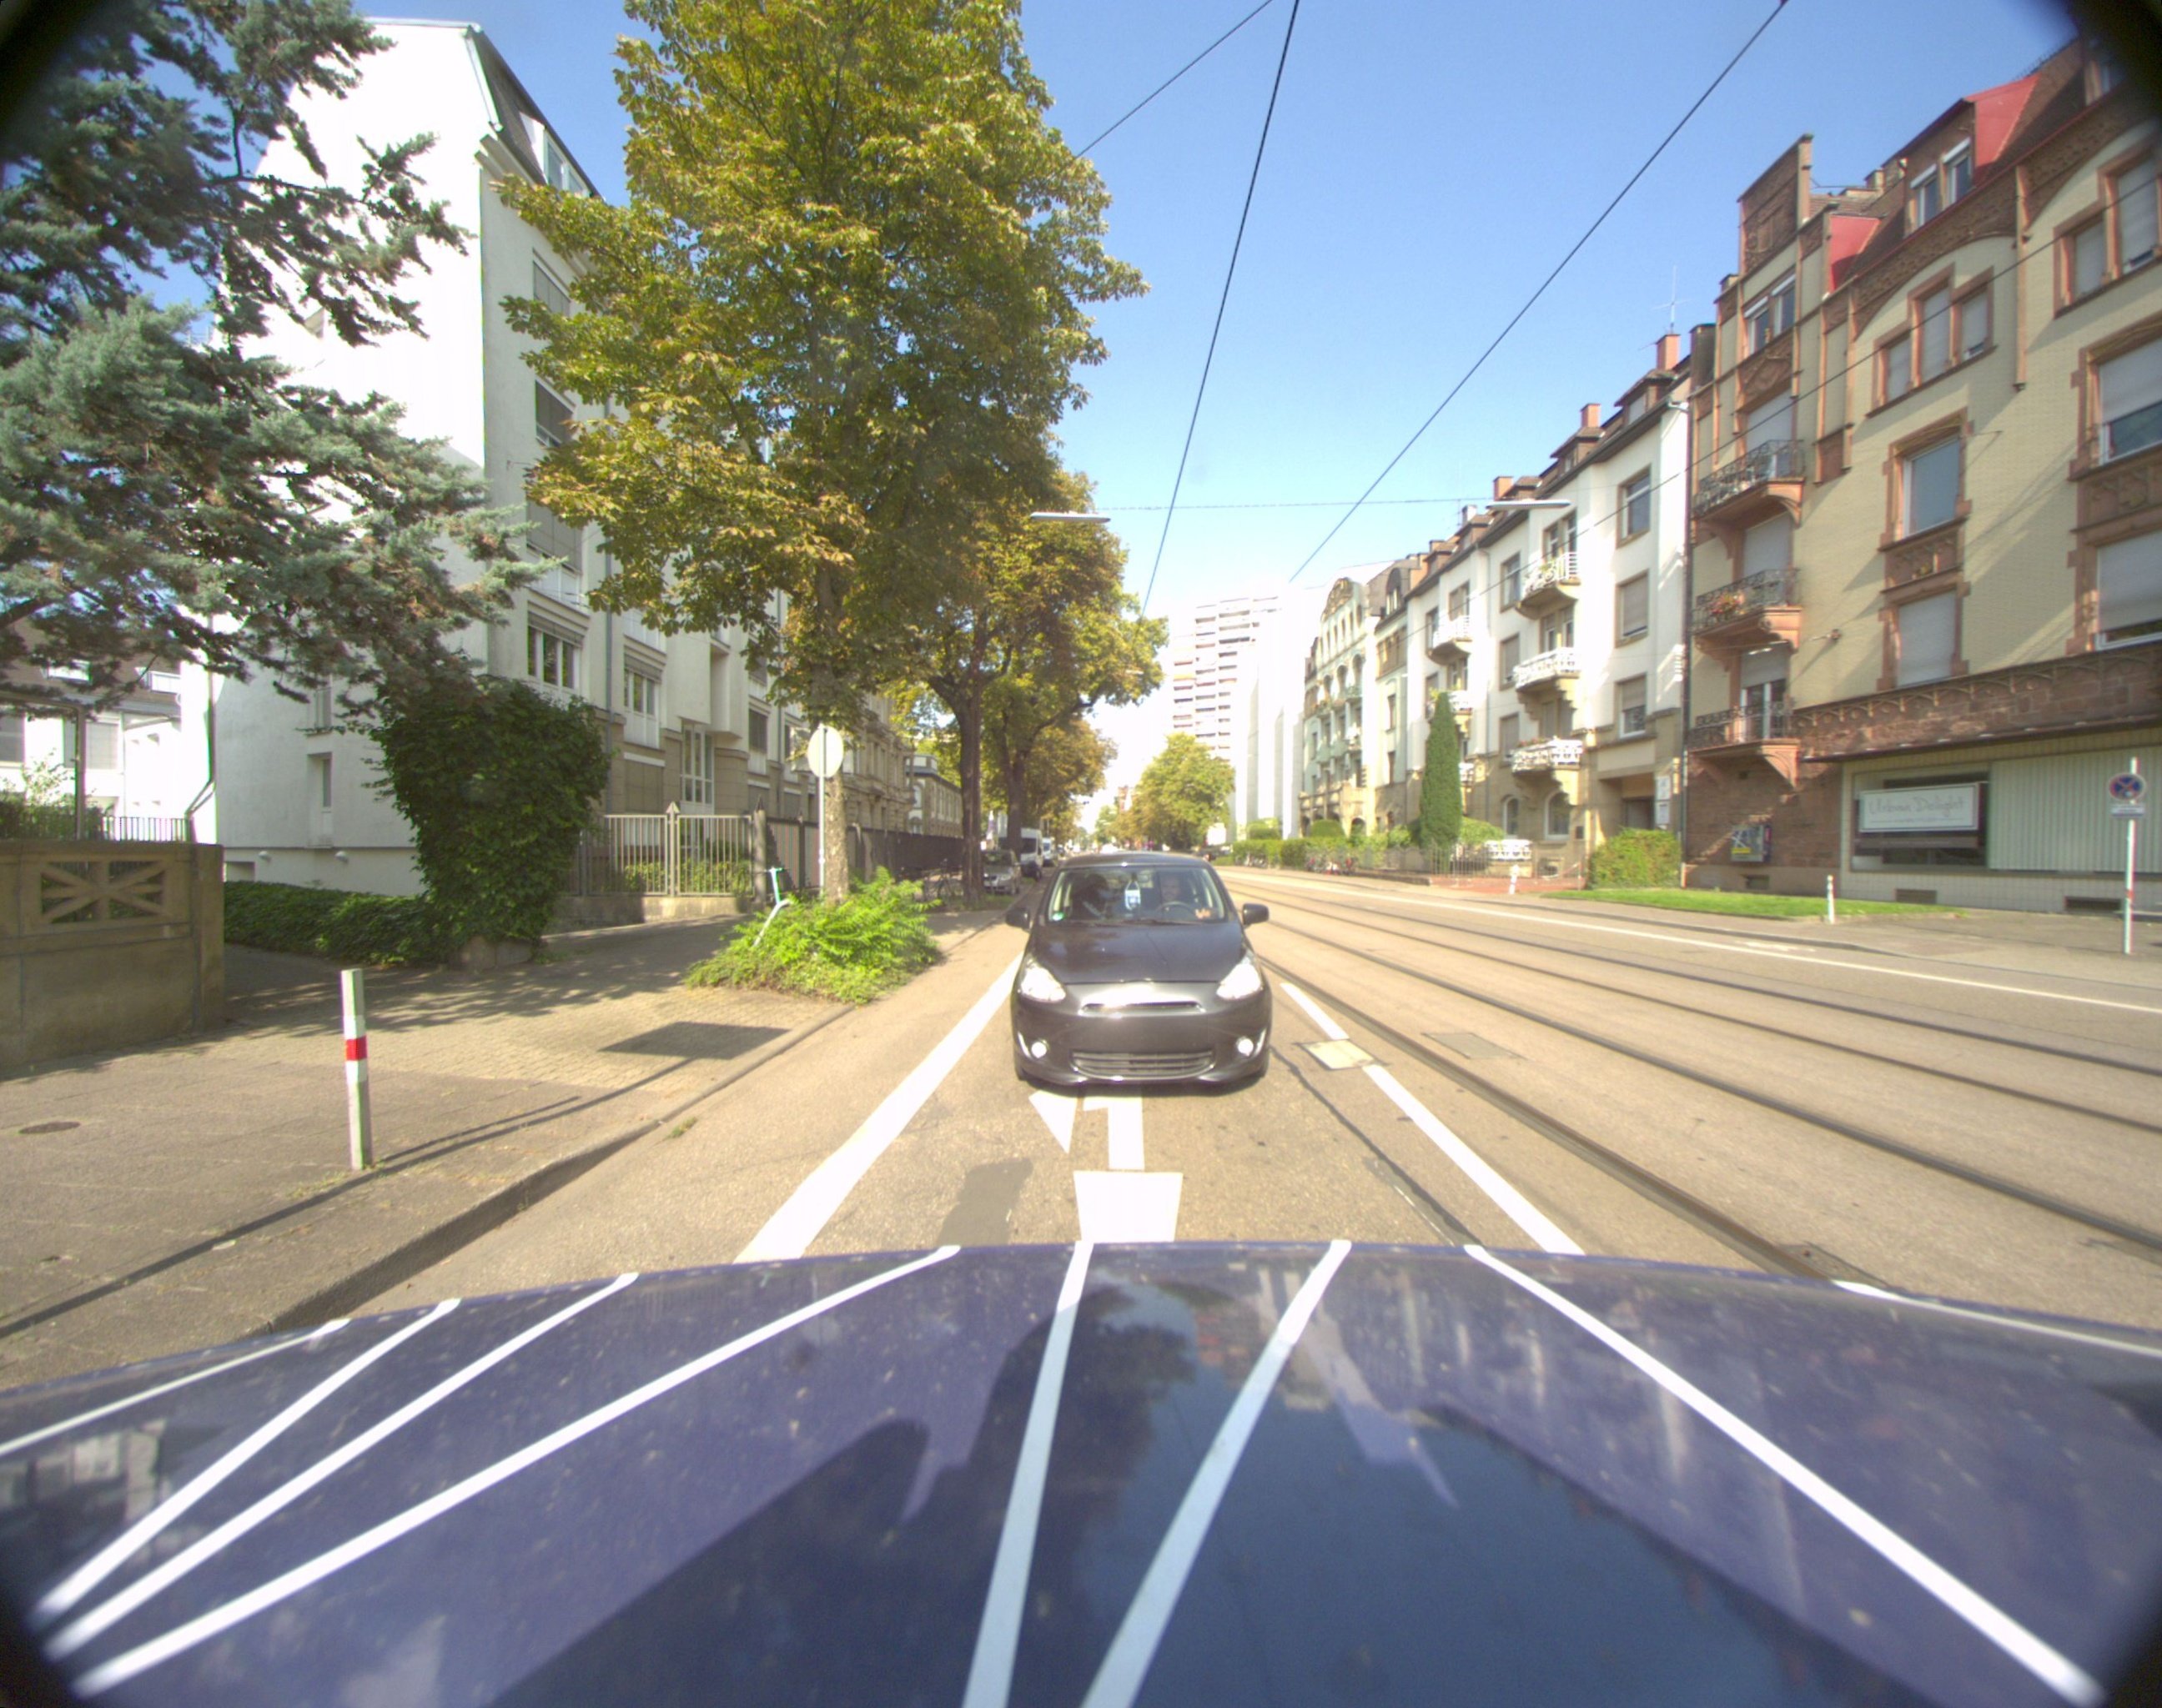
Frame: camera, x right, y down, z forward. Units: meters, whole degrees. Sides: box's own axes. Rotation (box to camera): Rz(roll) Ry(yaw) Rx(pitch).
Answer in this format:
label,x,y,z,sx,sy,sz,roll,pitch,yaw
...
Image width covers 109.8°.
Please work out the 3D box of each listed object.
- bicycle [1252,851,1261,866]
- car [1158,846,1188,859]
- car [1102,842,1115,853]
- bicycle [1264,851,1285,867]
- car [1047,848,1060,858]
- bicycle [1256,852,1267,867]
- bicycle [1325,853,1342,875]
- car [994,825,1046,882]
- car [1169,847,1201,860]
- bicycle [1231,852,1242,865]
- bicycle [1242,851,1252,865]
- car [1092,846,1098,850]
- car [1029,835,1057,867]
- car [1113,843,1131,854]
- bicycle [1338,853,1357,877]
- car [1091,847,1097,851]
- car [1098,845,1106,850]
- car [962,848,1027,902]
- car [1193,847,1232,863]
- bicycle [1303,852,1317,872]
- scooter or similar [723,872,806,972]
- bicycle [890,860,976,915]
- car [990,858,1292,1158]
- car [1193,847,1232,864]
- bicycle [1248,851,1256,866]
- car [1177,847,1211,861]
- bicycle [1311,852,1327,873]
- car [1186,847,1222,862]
label,x,y,z,sx,sy,sz,roll,pitch,yaw
bicycle,12.684,0.337,54.935,0.425,1.081,1.677,0,1,8
car,11.587,-0.213,95.646,1.767,1.518,4.008,1,1,41
car,4.962,-1.208,138.141,1.999,2.002,4.857,0,1,-4
bicycle,13.183,0.355,51.839,1.397,1.081,0.425,0,1,-18
car,-3.772,-0.120,105.665,1.757,1.349,3.787,0,1,-2
bicycle,12.554,0.374,52.838,0.425,1.081,1.677,0,1,4
bicycle,12.710,0.494,38.298,0.371,1.081,1.355,0,1,-1
car,-2.837,-0.055,36.748,2.051,2.484,6.227,1,1,0
car,11.913,-0.083,86.801,1.767,1.518,4.008,1,1,41
bicycle,12.477,0.348,61.087,0.425,0.972,1.769,0,1,-2
bicycle,12.628,0.291,57.755,0.425,1.081,1.676,0,1,2
car,4.320,-1.862,234.895,1.757,1.349,3.788,0,1,1
car,-3.155,-0.282,63.721,1.998,2.526,5.867,2,1,0
car,5.717,-0.818,106.254,1.877,1.446,4.543,3,0,-4
bicycle,12.815,0.521,36.524,0.371,1.081,1.487,0,1,-1
car,4.270,-1.513,246.571,1.757,1.349,3.787,0,1,-2
car,5.295,-1.651,189.675,1.701,1.395,4.644,-1,1,-2
car,-2.758,0.601,25.022,1.611,1.515,4.356,3,1,-1
car,12.764,0.080,73.650,4.008,1.518,1.767,0,1,-45
bicycle,12.886,0.450,42.828,0.371,1.081,1.355,0,1,-1
scooter or similar,-4.197,0.877,10.131,0.559,1.190,1.034,3,2,5
bicycle,-3.354,0.756,17.330,1.846,1.160,0.503,2,5,-40
car,0.312,0.855,6.312,1.611,1.515,4.356,-1,1,-1
car,12.104,0.158,69.857,1.767,1.518,4.008,1,1,41
bicycle,12.525,0.316,55.743,0.425,1.081,1.677,0,1,8
car,12.510,-0.024,83.954,1.767,1.518,4.008,1,1,41
bicycle,12.853,0.459,41.057,0.371,1.081,1.355,0,1,-1
car,12.390,0.051,76.489,1.767,1.518,4.008,1,1,41
